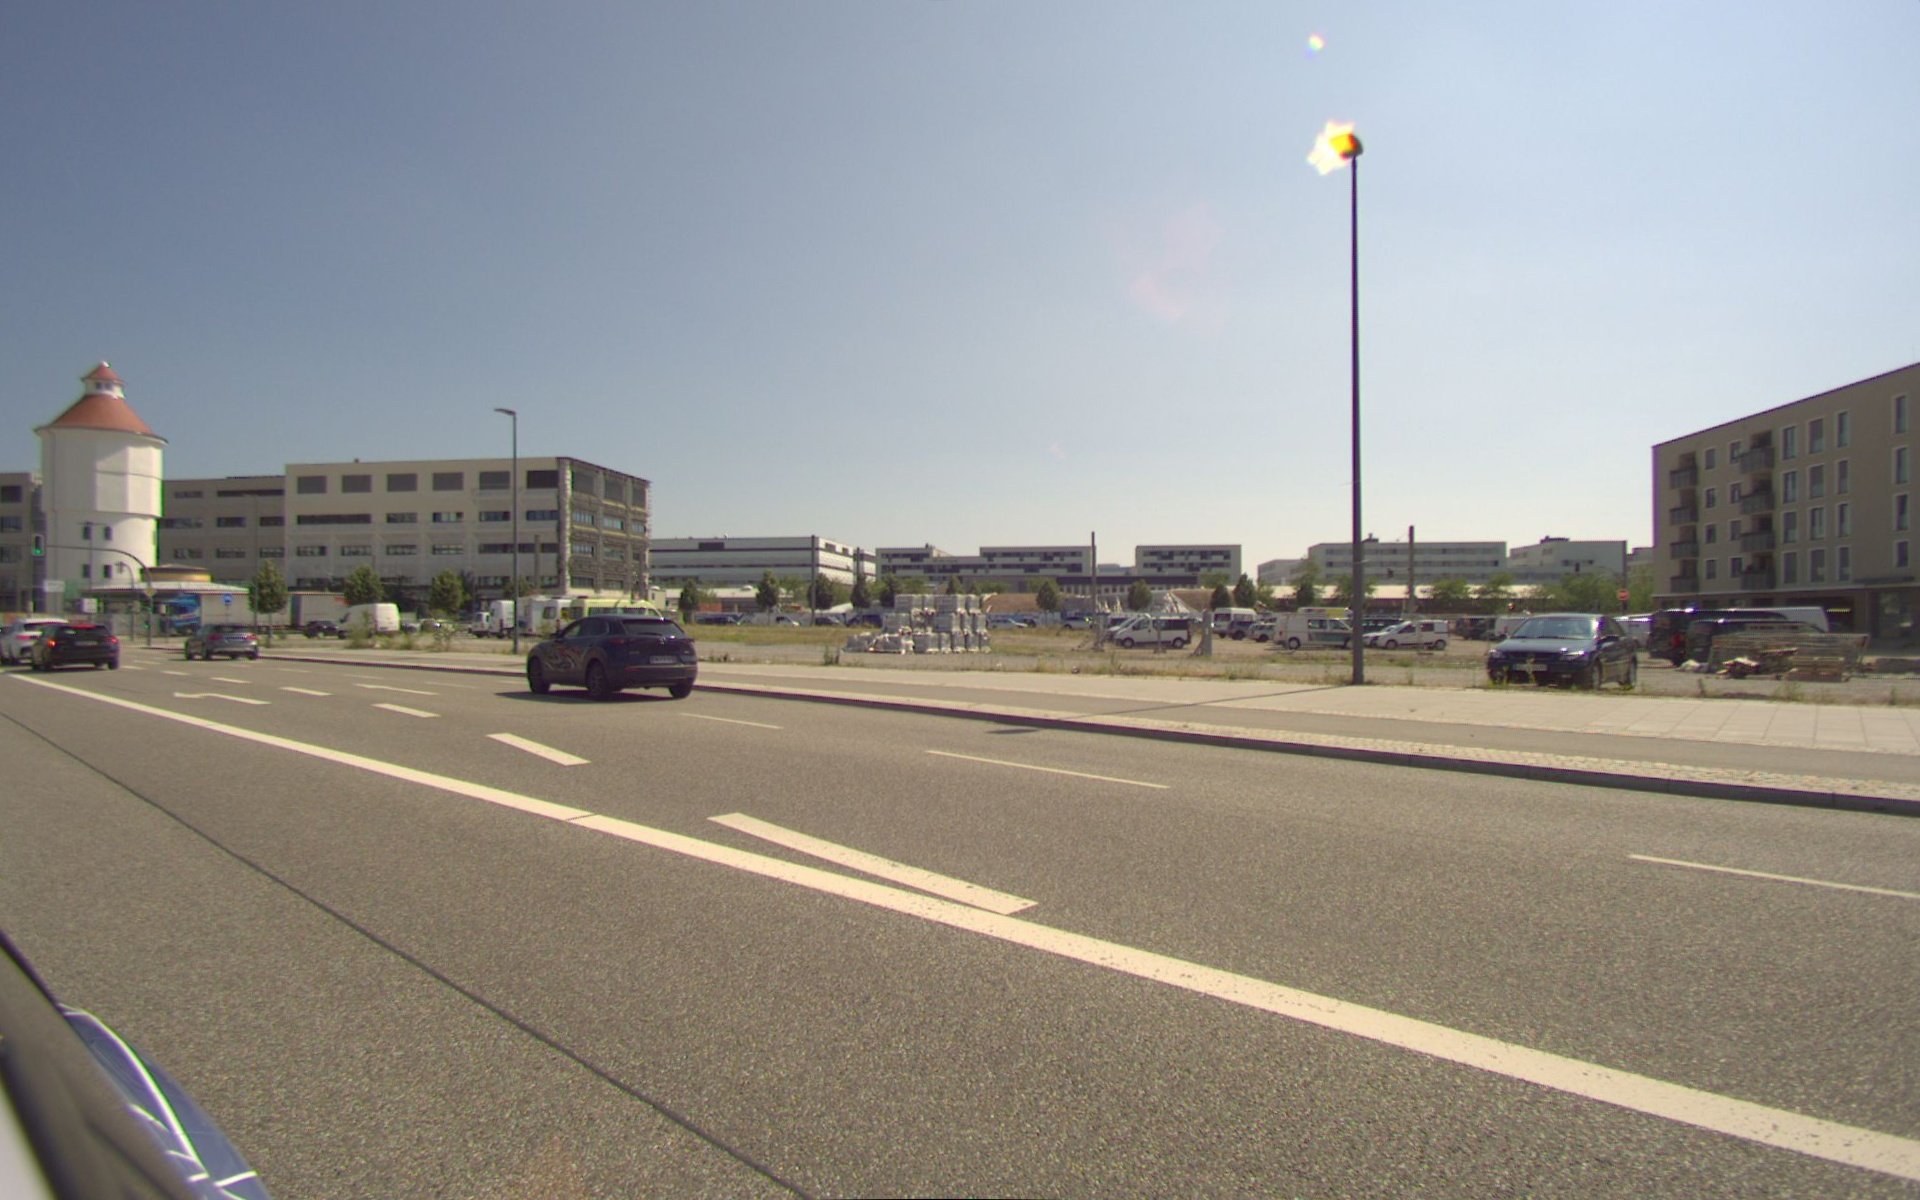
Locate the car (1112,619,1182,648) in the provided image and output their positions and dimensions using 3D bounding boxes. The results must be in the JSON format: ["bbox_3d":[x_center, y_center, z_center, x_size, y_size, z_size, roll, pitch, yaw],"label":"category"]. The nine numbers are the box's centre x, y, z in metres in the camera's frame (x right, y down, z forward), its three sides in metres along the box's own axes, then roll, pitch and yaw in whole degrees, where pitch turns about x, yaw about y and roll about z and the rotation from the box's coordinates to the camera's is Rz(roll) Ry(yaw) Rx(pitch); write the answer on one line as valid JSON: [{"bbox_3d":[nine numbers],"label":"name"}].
[{"bbox_3d":[12.769,2.280,69.373,4.601,1.985,1.994,0,-1,9],"label":"car"}]

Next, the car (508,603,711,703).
[{"bbox_3d":[-6.649,0.925,18.964,1.881,1.640,4.389,1,-2,-45],"label":"car"}]

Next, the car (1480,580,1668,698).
[{"bbox_3d":[11.193,0.675,18.355,3.938,1.918,1.830,1,-2,-42],"label":"car"}]

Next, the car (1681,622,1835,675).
[{"bbox_3d":[29.572,1.790,37.636,3.959,1.863,1.992,-1,0,12],"label":"car"}]

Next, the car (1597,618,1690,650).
[{"bbox_3d":[39.805,1.970,59.041,3.959,1.800,1.992,0,-1,12],"label":"car"}]

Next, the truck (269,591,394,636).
[{"bbox_3d":[-65.587,1.322,105.984,3.331,4.307,10.840,0,1,30],"label":"truck"}]

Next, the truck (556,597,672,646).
[{"bbox_3d":[-21.710,1.284,63.765,2.599,2.847,6.572,-1,0,38],"label":"truck"}]

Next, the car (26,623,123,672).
[{"bbox_3d":[-27.316,1.407,31.165,4.571,1.409,1.768,-1,-1,43],"label":"car"}]

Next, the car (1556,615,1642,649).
[{"bbox_3d":[39.360,1.972,62.440,3.959,2.029,1.992,-1,0,12],"label":"car"}]

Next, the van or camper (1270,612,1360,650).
[{"bbox_3d":[21.639,1.894,61.929,4.881,2.301,1.994,0,-1,9],"label":"van or camper"}]

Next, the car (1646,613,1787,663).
[{"bbox_3d":[30.171,1.515,40.482,3.959,1.863,1.992,-1,0,12],"label":"car"}]

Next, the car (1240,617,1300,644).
[{"bbox_3d":[23.379,2.279,76.428,3.953,2.029,1.995,0,-1,8],"label":"car"}]

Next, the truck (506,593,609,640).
[{"bbox_3d":[-27.444,1.075,69.175,2.570,2.922,6.080,1,2,42],"label":"truck"}]

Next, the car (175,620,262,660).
[{"bbox_3d":[-30.206,1.596,41.187,4.384,1.507,1.883,-1,-2,41],"label":"car"}]

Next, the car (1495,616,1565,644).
[{"bbox_3d":[41.500,2.172,73.763,3.959,2.029,1.992,0,-1,12],"label":"car"}]

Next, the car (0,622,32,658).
[{"bbox_3d":[-40.322,1.687,42.322,4.280,1.432,1.767,-2,-1,42],"label":"car"}]

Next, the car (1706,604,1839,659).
[{"bbox_3d":[35.008,1.353,43.726,3.951,2.257,1.996,-1,0,6],"label":"car"}]

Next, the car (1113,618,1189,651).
[{"bbox_3d":[11.915,2.156,63.347,4.601,2.029,1.994,0,-1,9],"label":"car"}]

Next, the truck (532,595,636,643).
[{"bbox_3d":[-24.204,1.173,65.407,2.569,2.845,5.776,0,2,40],"label":"truck"}]

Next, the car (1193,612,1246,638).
[{"bbox_3d":[21.322,2.058,83.230,3.953,2.029,1.995,0,-1,8],"label":"car"}]

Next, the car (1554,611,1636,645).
[{"bbox_3d":[40.766,1.795,65.082,3.959,2.029,1.992,-1,0,12],"label":"car"}]

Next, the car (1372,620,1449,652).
[{"bbox_3d":[27.321,2.164,61.563,3.962,1.896,1.990,0,-1,15],"label":"car"}]

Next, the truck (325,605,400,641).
[{"bbox_3d":[-46.294,1.772,78.411,5.914,2.675,2.154,0,-1,26],"label":"truck"}]

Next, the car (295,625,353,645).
[{"bbox_3d":[-56.340,3.047,89.697,1.872,1.652,3.963,-1,0,27],"label":"car"}]

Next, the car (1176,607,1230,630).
[{"bbox_3d":[21.334,1.657,89.090,4.431,1.985,1.834,0,-1,9],"label":"car"}]

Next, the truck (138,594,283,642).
[{"bbox_3d":[-70.603,1.593,95.781,3.281,4.098,10.895,0,1,23],"label":"truck"}]

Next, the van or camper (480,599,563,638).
[{"bbox_3d":[-30.964,1.279,71.594,2.258,2.682,4.849,-1,0,41],"label":"van or camper"}]

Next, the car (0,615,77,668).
[{"bbox_3d":[-33.121,1.416,36.017,4.729,1.662,1.893,-1,2,42],"label":"car"}]

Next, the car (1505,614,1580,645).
[{"bbox_3d":[39.688,1.990,69.068,3.959,2.029,1.992,-1,0,12],"label":"car"}]

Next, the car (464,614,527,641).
[{"bbox_3d":[-33.788,1.984,73.671,1.655,1.771,3.829,-1,0,37],"label":"car"}]

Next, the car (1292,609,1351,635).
[{"bbox_3d":[28.336,1.755,79.449,3.952,2.029,1.996,0,-1,7],"label":"car"}]
